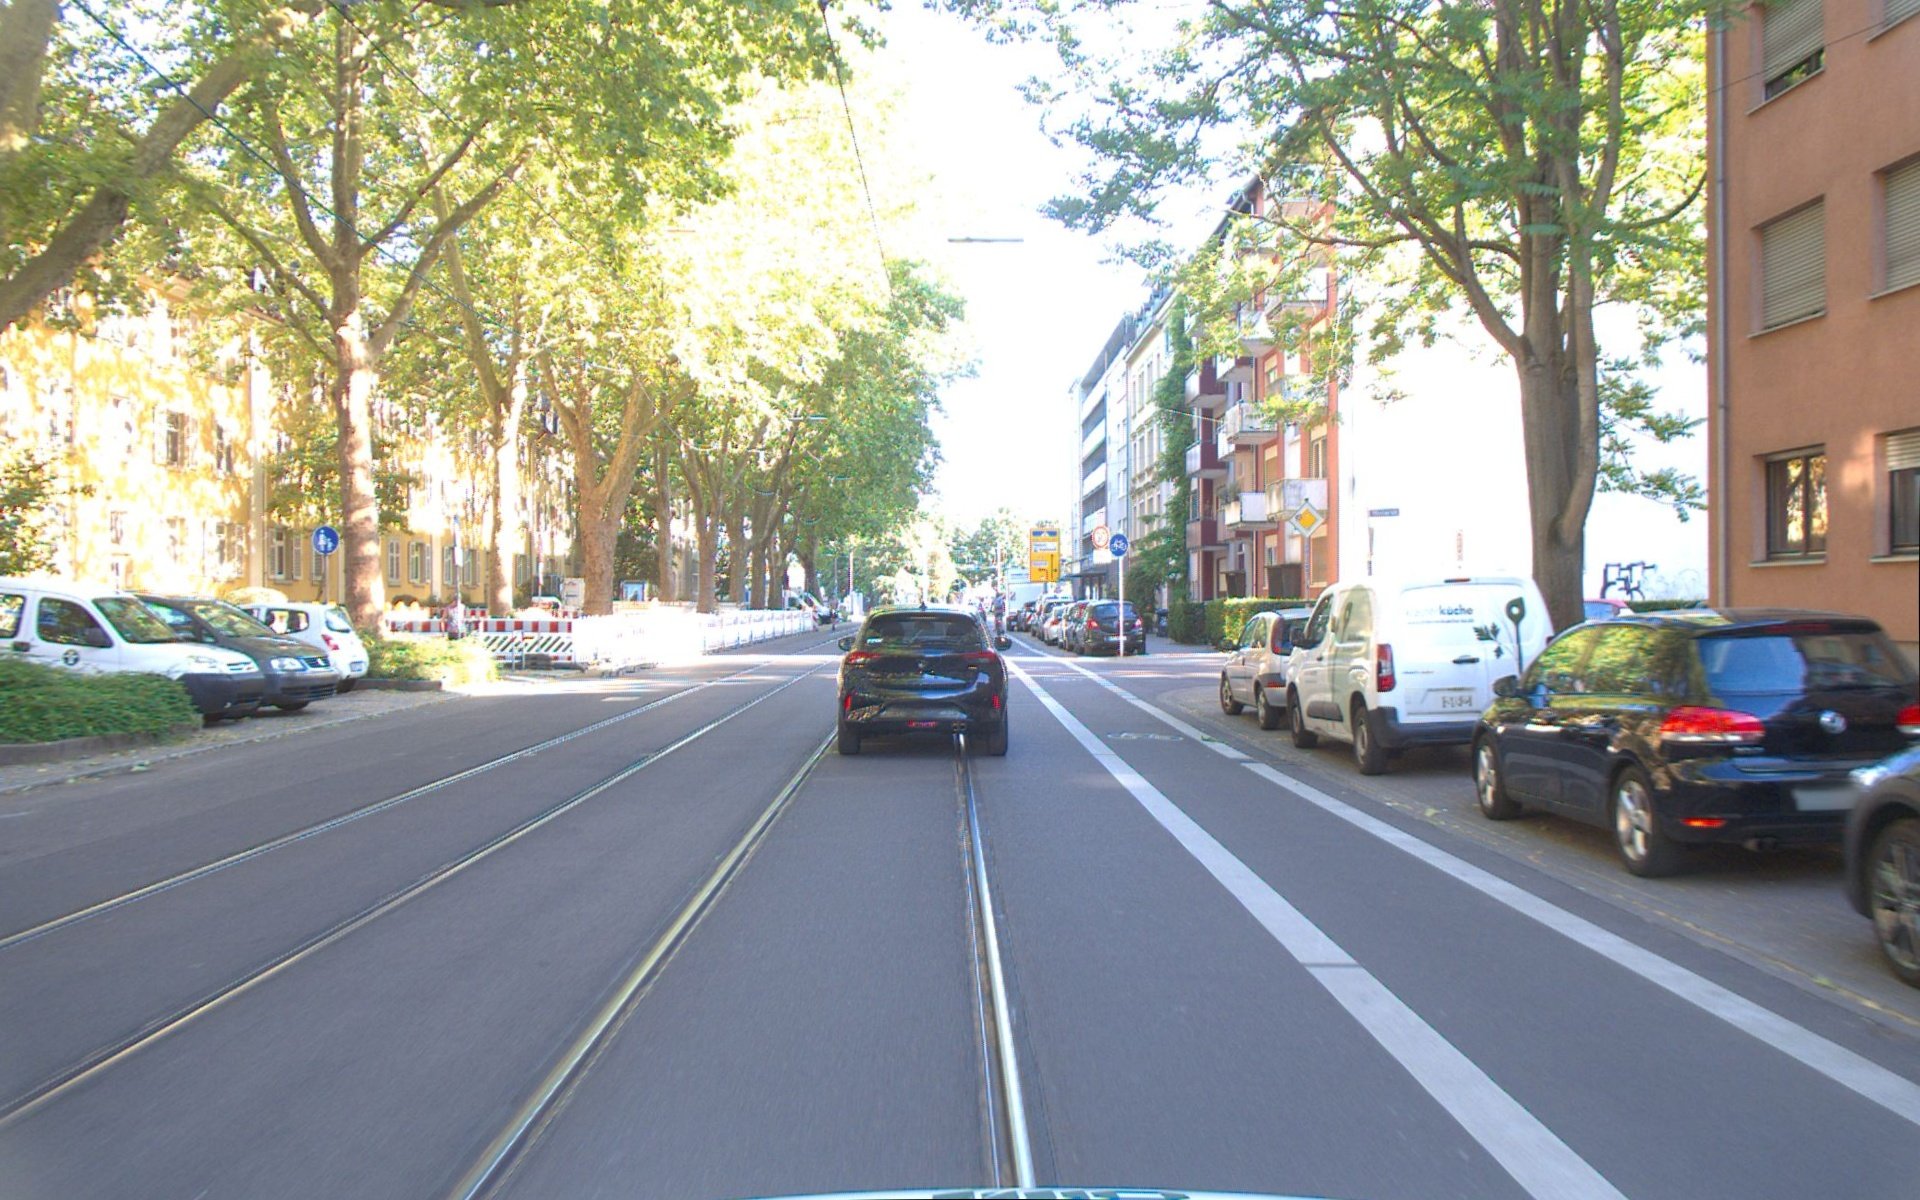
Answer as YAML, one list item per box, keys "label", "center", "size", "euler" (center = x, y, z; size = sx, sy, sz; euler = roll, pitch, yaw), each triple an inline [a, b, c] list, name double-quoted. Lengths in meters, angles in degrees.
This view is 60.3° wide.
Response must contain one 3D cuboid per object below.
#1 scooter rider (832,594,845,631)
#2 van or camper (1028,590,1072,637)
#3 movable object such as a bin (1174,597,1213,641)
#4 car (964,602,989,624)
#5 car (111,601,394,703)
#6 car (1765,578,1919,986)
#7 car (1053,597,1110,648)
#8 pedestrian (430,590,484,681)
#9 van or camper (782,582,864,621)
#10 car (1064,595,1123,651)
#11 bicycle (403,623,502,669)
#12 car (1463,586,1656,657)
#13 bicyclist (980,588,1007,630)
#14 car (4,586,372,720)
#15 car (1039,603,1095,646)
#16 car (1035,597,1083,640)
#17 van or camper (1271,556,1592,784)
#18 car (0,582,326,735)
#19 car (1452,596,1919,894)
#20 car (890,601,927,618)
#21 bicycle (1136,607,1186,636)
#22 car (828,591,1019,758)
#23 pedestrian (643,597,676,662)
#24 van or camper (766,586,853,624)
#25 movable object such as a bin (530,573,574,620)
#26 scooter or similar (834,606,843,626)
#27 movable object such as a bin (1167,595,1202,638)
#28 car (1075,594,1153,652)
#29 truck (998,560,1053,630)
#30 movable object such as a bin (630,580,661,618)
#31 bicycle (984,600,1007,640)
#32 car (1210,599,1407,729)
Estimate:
- label: "scooter rider"
  center: [-6.654, 0.677, 90.656]
  size: [0.636, 1.991, 0.624]
  euler: [1, -1, 0]
- label: "van or camper"
  center: [3.808, 0.543, 70.486]
  size: [1.635, 1.915, 4.210]
  euler: [-2, 0, 0]
- label: "movable object such as a bin"
  center: [7.324, 0.589, 51.958]
  size: [0.947, 1.350, 1.721]
  euler: [1, -1, 0]
- label: "car"
  center: [1.386, 1.069, 139.265]
  size: [1.953, 1.725, 4.739]
  euler: [-2, 0, -1]
- label: "car"
  center: [-11.426, 0.817, 26.889]
  size: [3.769, 1.524, 1.862]
  euler: [-1, 0, 0]
- label: "car"
  center: [4.646, 0.695, 5.494]
  size: [1.732, 1.599, 4.336]
  euler: [-2, 0, -1]
- label: "car"
  center: [3.991, 0.727, 54.735]
  size: [1.559, 1.553, 3.835]
  euler: [-2, 0, 0]
- label: "pedestrian"
  center: [-9.889, 0.692, 32.547]
  size: [0.805, 1.776, 0.796]
  euler: [1, -1, -1]
- label: "van or camper"
  center: [-9.722, 0.086, 117.909]
  size: [5.606, 2.690, 2.269]
  euler: [1, -1, 0]
- label: "car"
  center: [4.038, 0.684, 50.425]
  size: [1.494, 1.618, 3.752]
  euler: [1, 0, 0]
- label: "bicycle"
  center: [-11.120, 1.003, 36.249]
  size: [1.931, 0.979, 0.726]
  euler: [0, 0, 0]
- label: "car"
  center: [13.690, 0.474, 37.892]
  size: [3.834, 1.508, 1.561]
  euler: [0, 3, -2]
- label: "bicyclist"
  center: [1.348, 0.365, 67.435]
  size: [1.067, 1.676, 1.400]
  euler: [0, 0, 0]
- label: "car"
  center: [-10.510, 0.701, 22.695]
  size: [4.144, 1.717, 1.934]
  euler: [-1, 0, 6]
- label: "car"
  center: [3.875, 0.868, 60.509]
  size: [1.625, 1.424, 4.739]
  euler: [-2, 0, -1]
- label: "car"
  center: [3.887, 0.704, 65.389]
  size: [1.626, 1.608, 3.588]
  euler: [-2, 0, 0]
- label: "van or camper"
  center: [4.427, 0.579, 16.351]
  size: [1.719, 1.897, 4.829]
  euler: [-1, 0, -1]
- label: "car"
  center: [-10.224, 0.683, 20.405]
  size: [4.112, 1.788, 1.740]
  euler: [0, 0, 0]
- label: "car"
  center: [4.630, 0.736, 10.572]
  size: [1.671, 1.498, 4.167]
  euler: [-1, 0, -1]
- label: "car"
  center: [-5.540, 1.035, 176.373]
  size: [1.901, 1.725, 4.269]
  euler: [-2, 0, -35]
- label: "bicycle"
  center: [7.800, 0.833, 64.132]
  size: [1.854, 1.047, 0.476]
  euler: [-2, 0, 4]
- label: "car"
  center: [-0.364, 0.682, 17.202]
  size: [1.745, 1.522, 3.999]
  euler: [0, 0, -1]
- label: "pedestrian"
  center: [-7.982, 0.774, 43.987]
  size: [0.702, 1.698, 0.778]
  euler: [1, -1, 0]
- label: "van or camper"
  center: [-9.855, 0.346, 108.542]
  size: [5.386, 2.421, 2.270]
  euler: [1, -1, 3]
- label: "movable object such as a bin"
  center: [-16.863, -0.120, 68.443]
  size: [1.306, 1.901, 2.007]
  euler: [1, -1, -1]
- label: "scooter or similar"
  center: [-6.662, 0.876, 90.682]
  size: [0.399, 1.102, 1.338]
  euler: [1, -1, 0]
- label: "movable object such as a bin"
  center: [7.290, 0.533, 53.795]
  size: [0.905, 1.350, 1.681]
  euler: [1, -1, 0]
- label: "car"
  center: [4.251, 0.611, 46.145]
  size: [1.698, 1.487, 3.915]
  euler: [-2, 0, -1]
- label: "truck"
  center: [3.416, -0.244, 87.838]
  size: [2.486, 3.396, 7.194]
  euler: [-3, 0, 0]
- label: "movable object such as a bin"
  center: [-14.024, -0.049, 73.705]
  size: [1.075, 1.674, 1.559]
  euler: [1, -1, -1]
- label: "bicycle"
  center: [1.436, 0.782, 67.554]
  size: [0.897, 1.588, 3.404]
  euler: [0, 0, 0]
- label: "car"
  center: [4.433, 0.759, 21.587]
  size: [1.671, 1.498, 3.999]
  euler: [-1, 0, -1]
